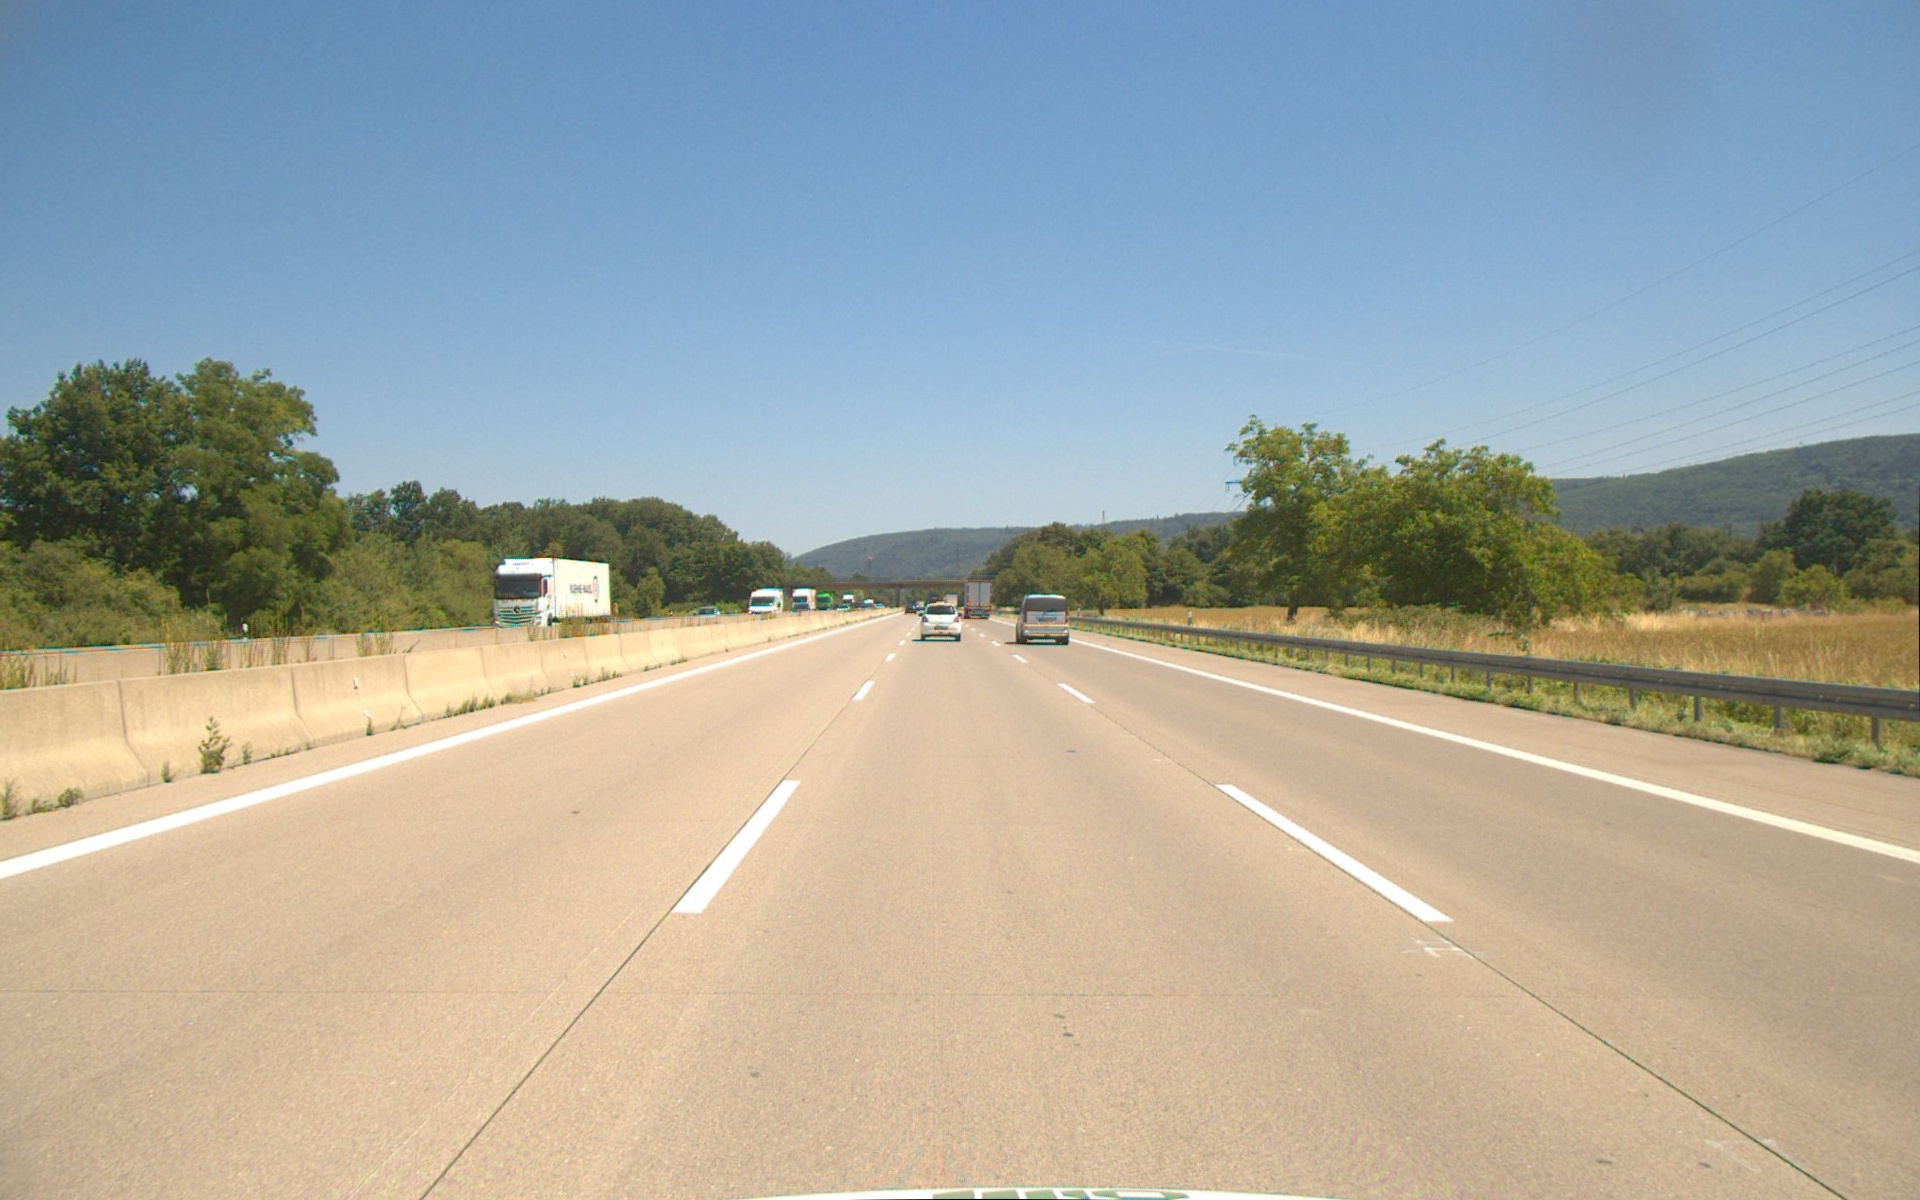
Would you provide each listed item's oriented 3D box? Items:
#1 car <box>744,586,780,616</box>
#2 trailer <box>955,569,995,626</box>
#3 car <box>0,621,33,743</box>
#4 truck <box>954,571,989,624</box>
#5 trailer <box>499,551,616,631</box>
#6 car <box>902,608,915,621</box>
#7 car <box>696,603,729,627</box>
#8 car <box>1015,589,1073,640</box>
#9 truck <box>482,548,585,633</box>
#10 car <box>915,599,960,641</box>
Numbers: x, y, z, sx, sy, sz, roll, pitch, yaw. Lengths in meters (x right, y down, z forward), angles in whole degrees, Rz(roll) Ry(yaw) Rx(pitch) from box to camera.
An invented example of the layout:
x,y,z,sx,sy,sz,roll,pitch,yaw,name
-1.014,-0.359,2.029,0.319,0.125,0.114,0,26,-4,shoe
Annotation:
x,y,z,sx,sy,sz,roll,pitch,yaw,name
-13.883,0.052,116.192,2.027,2.049,5.978,1,0,-2,car
1.561,-0.260,180.759,3.646,5.913,12.156,1,0,-2,trailer
-16.167,1.302,24.761,1.953,1.914,4.691,1,0,-1,car
1.257,-0.282,187.956,3.646,5.913,7.050,1,0,-2,truck
-21.322,-0.464,88.607,3.097,3.905,14.027,1,0,-1,trailer
-7.556,2.111,243.322,1.890,1.825,3.999,1,0,-2,car
-18.106,1.101,121.254,1.782,1.691,4.000,0,0,0,car
3.263,0.552,65.049,1.953,1.881,3.999,1,0,-2,car
-21.197,-0.470,82.707,3.097,3.977,8.370,1,0,-1,truck
-0.958,0.790,68.523,1.782,1.691,3.999,0,0,-2,car
